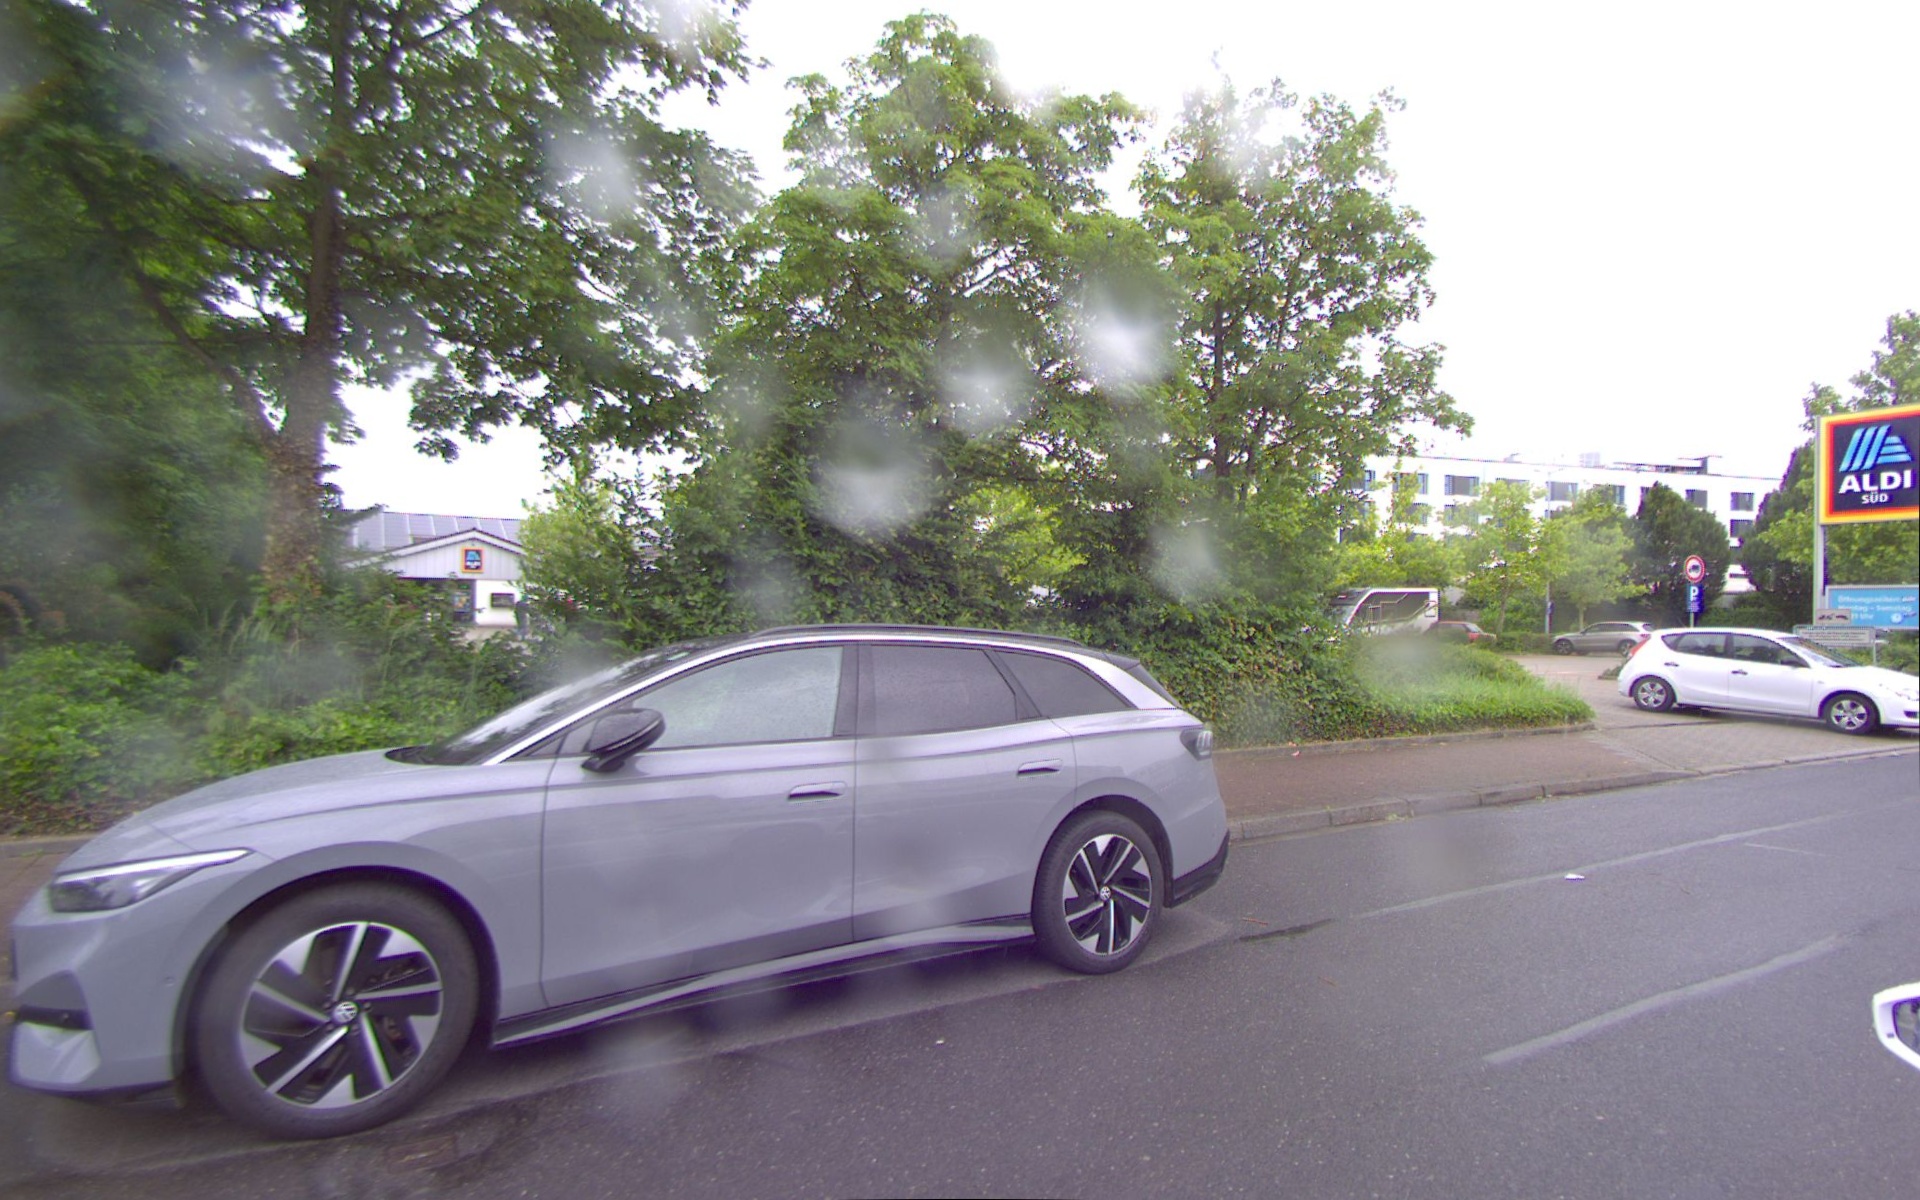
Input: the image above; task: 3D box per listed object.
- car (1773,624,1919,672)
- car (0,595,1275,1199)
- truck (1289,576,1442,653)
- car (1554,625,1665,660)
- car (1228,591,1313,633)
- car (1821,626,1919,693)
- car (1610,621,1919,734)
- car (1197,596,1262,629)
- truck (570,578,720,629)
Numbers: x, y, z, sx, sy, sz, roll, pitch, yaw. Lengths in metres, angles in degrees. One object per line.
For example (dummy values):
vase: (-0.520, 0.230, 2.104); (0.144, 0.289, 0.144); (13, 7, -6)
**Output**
car: (31.709, 1.658, 35.698); (1.887, 1.561, 3.969); (1, -1, -29)
car: (-0.905, 0.882, 4.550); (4.695, 1.548, 1.800); (2, -5, -32)
truck: (15.326, 0.583, 37.775); (6.324, 2.692, 1.983); (1, -1, -32)
car: (30.564, 1.966, 47.394); (1.975, 1.519, 3.971); (1, -1, -28)
car: (18.059, 0.736, 58.375); (4.757, 2.327, 1.984); (1, -1, -30)
car: (22.967, 1.437, 23.754); (1.691, 1.479, 3.554); (1, 1, -28)
car: (13.234, 1.149, 16.311); (1.694, 1.479, 4.166); (1, 0, -33)
car: (18.043, 0.844, 67.266); (3.953, 2.040, 1.984); (2, 0, -30)
truck: (-13.965, 0.204, 44.733); (6.068, 2.087, 1.982); (1, -1, -33)
